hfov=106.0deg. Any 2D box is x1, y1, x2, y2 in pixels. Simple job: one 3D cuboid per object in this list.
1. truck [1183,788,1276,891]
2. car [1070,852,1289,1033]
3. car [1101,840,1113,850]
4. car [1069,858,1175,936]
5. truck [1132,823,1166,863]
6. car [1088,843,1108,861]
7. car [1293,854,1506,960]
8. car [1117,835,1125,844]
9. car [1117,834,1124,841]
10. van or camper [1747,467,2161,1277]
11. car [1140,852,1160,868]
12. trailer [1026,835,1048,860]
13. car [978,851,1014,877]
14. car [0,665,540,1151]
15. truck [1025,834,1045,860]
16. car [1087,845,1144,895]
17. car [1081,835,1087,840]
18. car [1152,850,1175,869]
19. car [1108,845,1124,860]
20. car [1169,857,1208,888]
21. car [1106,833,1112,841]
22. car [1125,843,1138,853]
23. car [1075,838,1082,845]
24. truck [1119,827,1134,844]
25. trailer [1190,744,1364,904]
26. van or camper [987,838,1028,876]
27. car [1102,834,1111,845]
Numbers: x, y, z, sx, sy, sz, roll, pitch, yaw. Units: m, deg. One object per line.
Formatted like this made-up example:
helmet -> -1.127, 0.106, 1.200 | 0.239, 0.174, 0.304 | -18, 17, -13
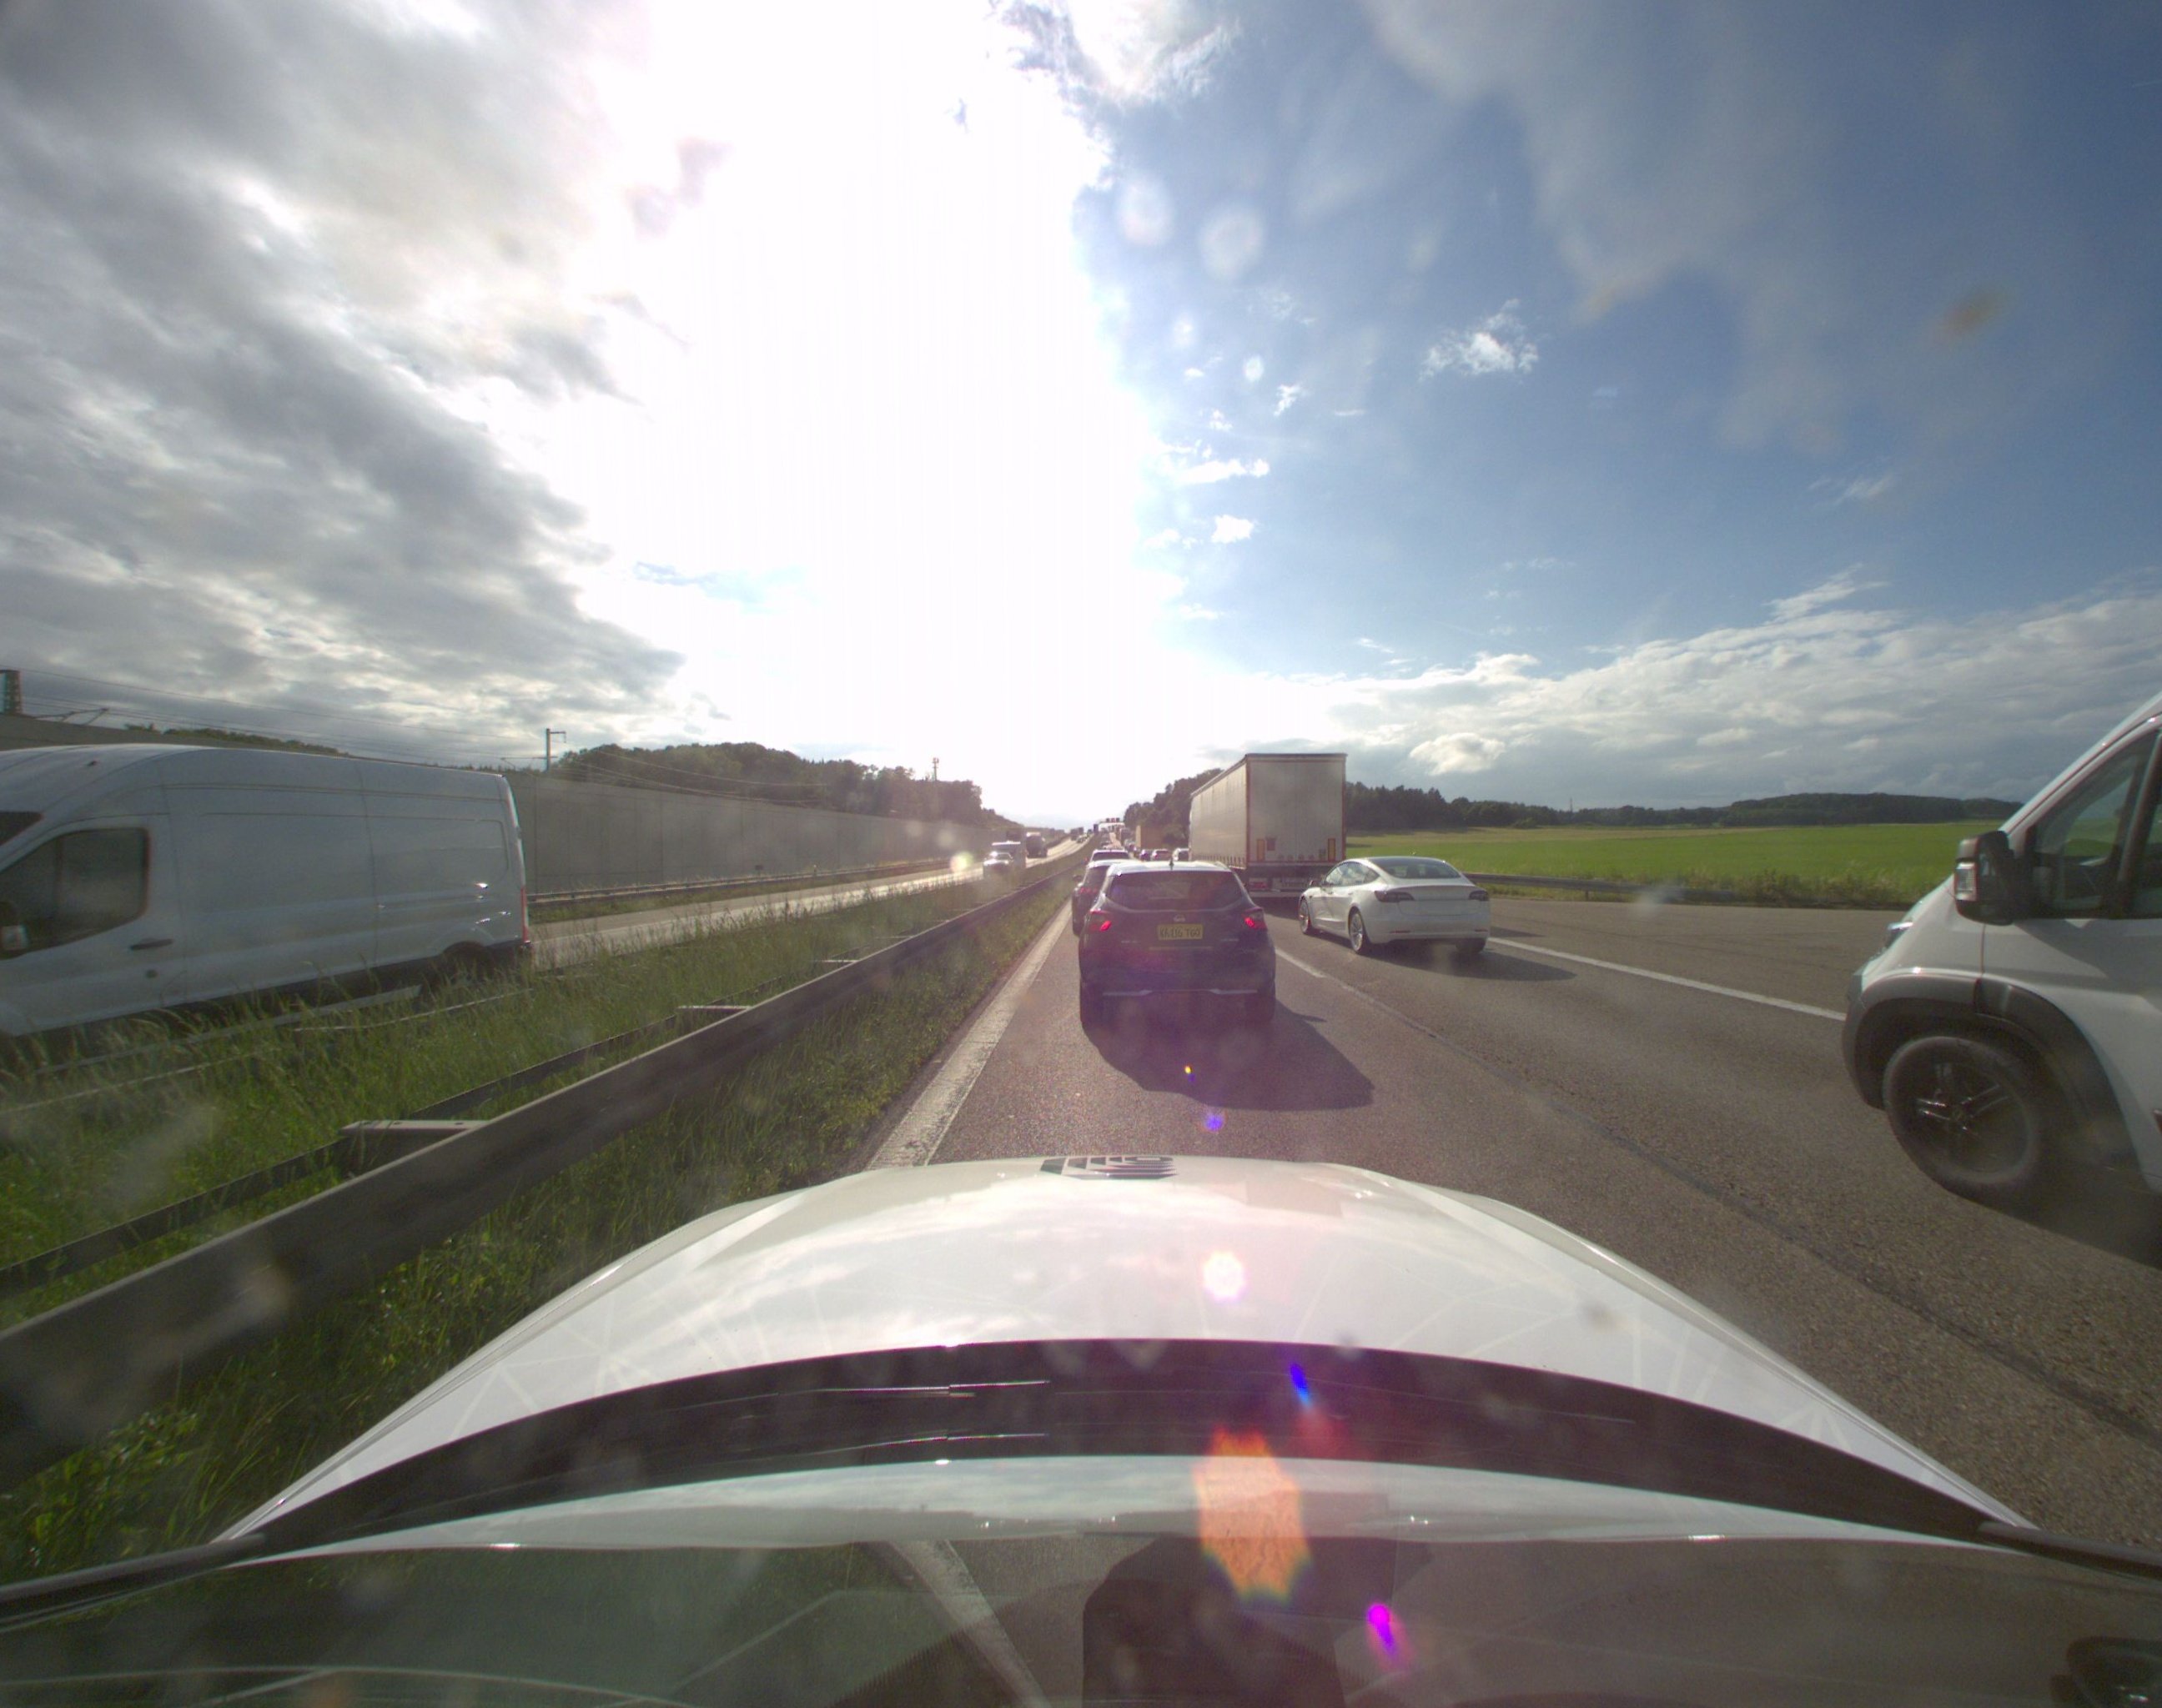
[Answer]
truck -> 6.135, -0.526, 34.425 | 3.121, 4.016, 5.166 | -1, -1, 2
car -> 0.884, 0.735, 8.824 | 1.766, 1.451, 4.234 | -1, 0, 2
car -> 4.413, -1.513, 136.999 | 1.867, 1.644, 4.233 | -1, 1, 1
car -> 0.812, 0.785, 16.791 | 1.866, 1.358, 4.234 | -1, 0, 2
truck -> 8.246, -1.213, 100.719 | 3.286, 4.577, 12.440 | 0, -1, 1
car -> 1.641, -0.226, 77.929 | 1.866, 1.644, 4.234 | -1, 1, 2
car -> 4.889, 0.716, 13.253 | 1.782, 1.394, 4.437 | -1, 0, 1
car -> 9.889, -3.540, 200.143 | 1.866, 2.158, 5.214 | -1, 3, 2
car -> 12.426, -5.157, 255.407 | 1.866, 2.158, 5.214 | -1, 3, 2
van or camper -> 4.645, 0.038, 1.194 | 2.207, 2.681, 6.334 | -1, 0, 1
car -> 7.349, 0.603, 87.269 | 1.866, 1.644, 4.234 | -1, 0, 2
trailer -> -7.175, -0.958, 135.139 | 2.579, 3.901, 10.867 | -2, 0, 1
car -> -5.938, 0.677, 57.340 | 1.903, 1.671, 4.363 | -1, 0, 1
car -> -7.394, 0.346, 6.605 | 2.096, 2.870, 5.637 | -2, 0, 1
truck -> -7.341, -1.034, 129.794 | 2.573, 3.923, 5.724 | -2, 0, 2
car -> 1.234, 0.537, 29.551 | 1.866, 1.644, 4.234 | -1, 0, 2
car -> 0.991, -5.310, 258.609 | 1.691, 1.499, 4.428 | -1, 0, 1
car -> 7.841, 0.499, 77.867 | 1.866, 1.644, 4.234 | -1, 1, 2
car -> 4.169, -0.147, 96.672 | 1.866, 1.644, 4.235 | -1, 1, 2
car -> 5.816, 0.968, 44.489 | 1.691, 1.610, 4.440 | -1, 0, 3
car -> 8.607, -5.262, 252.093 | 1.866, 2.158, 5.214 | -1, 3, 2
car -> 8.866, -1.104, 143.096 | 1.868, 1.644, 4.230 | -1, 1, -1
car -> -0.676, -3.564, 236.327 | 1.774, 1.737, 4.104 | -1, 0, 2
truck -> 12.493, -5.062, 225.769 | 3.452, 4.576, 12.442 | 0, 1, 1
trailer -> 5.832, -0.640, 27.259 | 3.118, 4.011, 13.373 | -1, -1, 2
van or camper -> -5.614, 0.242, 63.115 | 2.244, 2.704, 7.172 | -1, 0, 1
car -> 5.622, -3.237, 180.681 | 1.866, 2.158, 5.214 | -1, 3, 2
